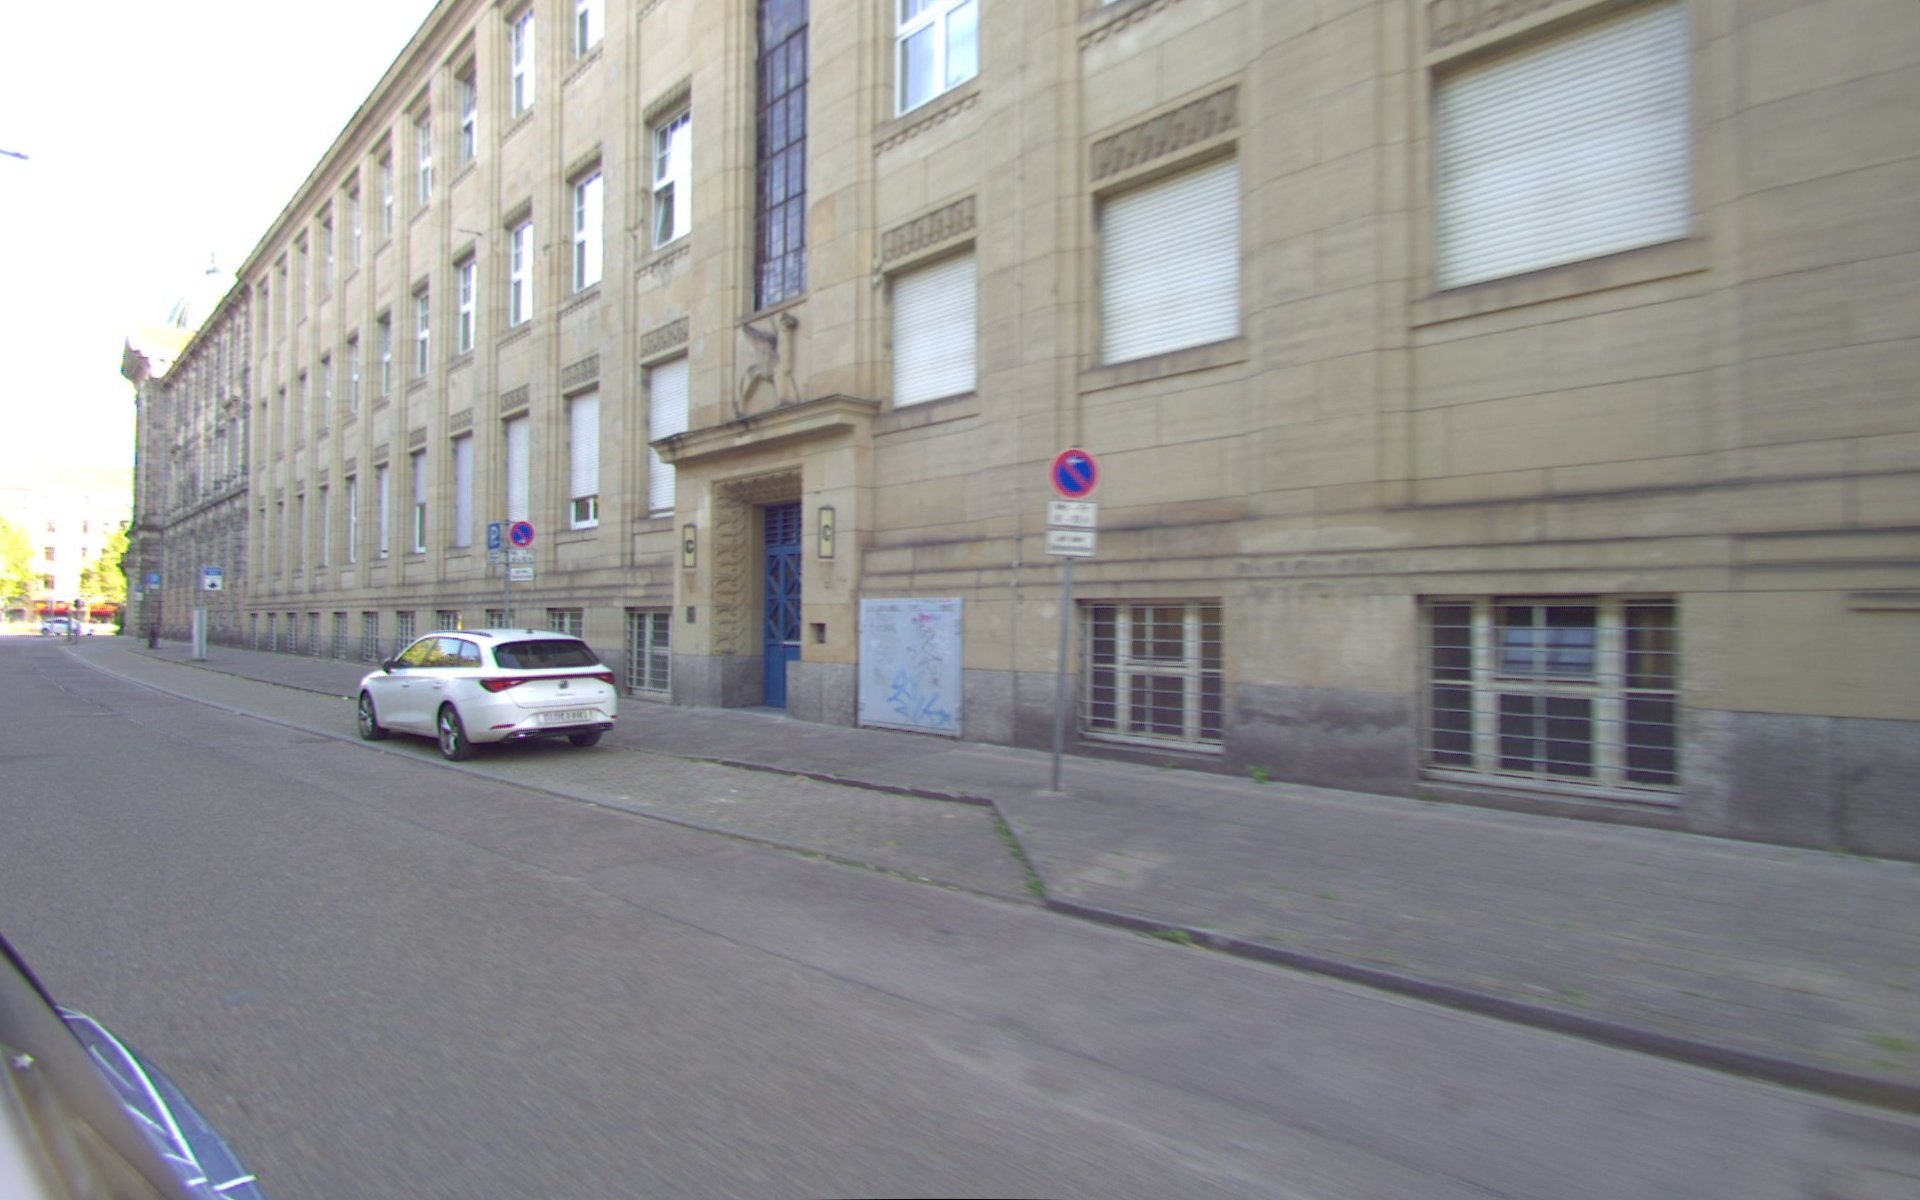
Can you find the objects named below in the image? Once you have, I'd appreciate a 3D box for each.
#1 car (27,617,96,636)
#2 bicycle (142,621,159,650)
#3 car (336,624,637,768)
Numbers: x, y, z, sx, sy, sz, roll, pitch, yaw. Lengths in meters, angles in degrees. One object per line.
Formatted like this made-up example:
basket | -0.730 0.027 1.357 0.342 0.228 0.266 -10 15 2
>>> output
car | -78.960 2.337 89.016 4.214 1.657 1.808 1 -2 -10
bicycle | -35.676 1.560 44.589 0.451 1.218 1.882 2 -2 -36
car | -5.996 1.033 12.545 4.559 1.446 1.725 -1 -1 42
